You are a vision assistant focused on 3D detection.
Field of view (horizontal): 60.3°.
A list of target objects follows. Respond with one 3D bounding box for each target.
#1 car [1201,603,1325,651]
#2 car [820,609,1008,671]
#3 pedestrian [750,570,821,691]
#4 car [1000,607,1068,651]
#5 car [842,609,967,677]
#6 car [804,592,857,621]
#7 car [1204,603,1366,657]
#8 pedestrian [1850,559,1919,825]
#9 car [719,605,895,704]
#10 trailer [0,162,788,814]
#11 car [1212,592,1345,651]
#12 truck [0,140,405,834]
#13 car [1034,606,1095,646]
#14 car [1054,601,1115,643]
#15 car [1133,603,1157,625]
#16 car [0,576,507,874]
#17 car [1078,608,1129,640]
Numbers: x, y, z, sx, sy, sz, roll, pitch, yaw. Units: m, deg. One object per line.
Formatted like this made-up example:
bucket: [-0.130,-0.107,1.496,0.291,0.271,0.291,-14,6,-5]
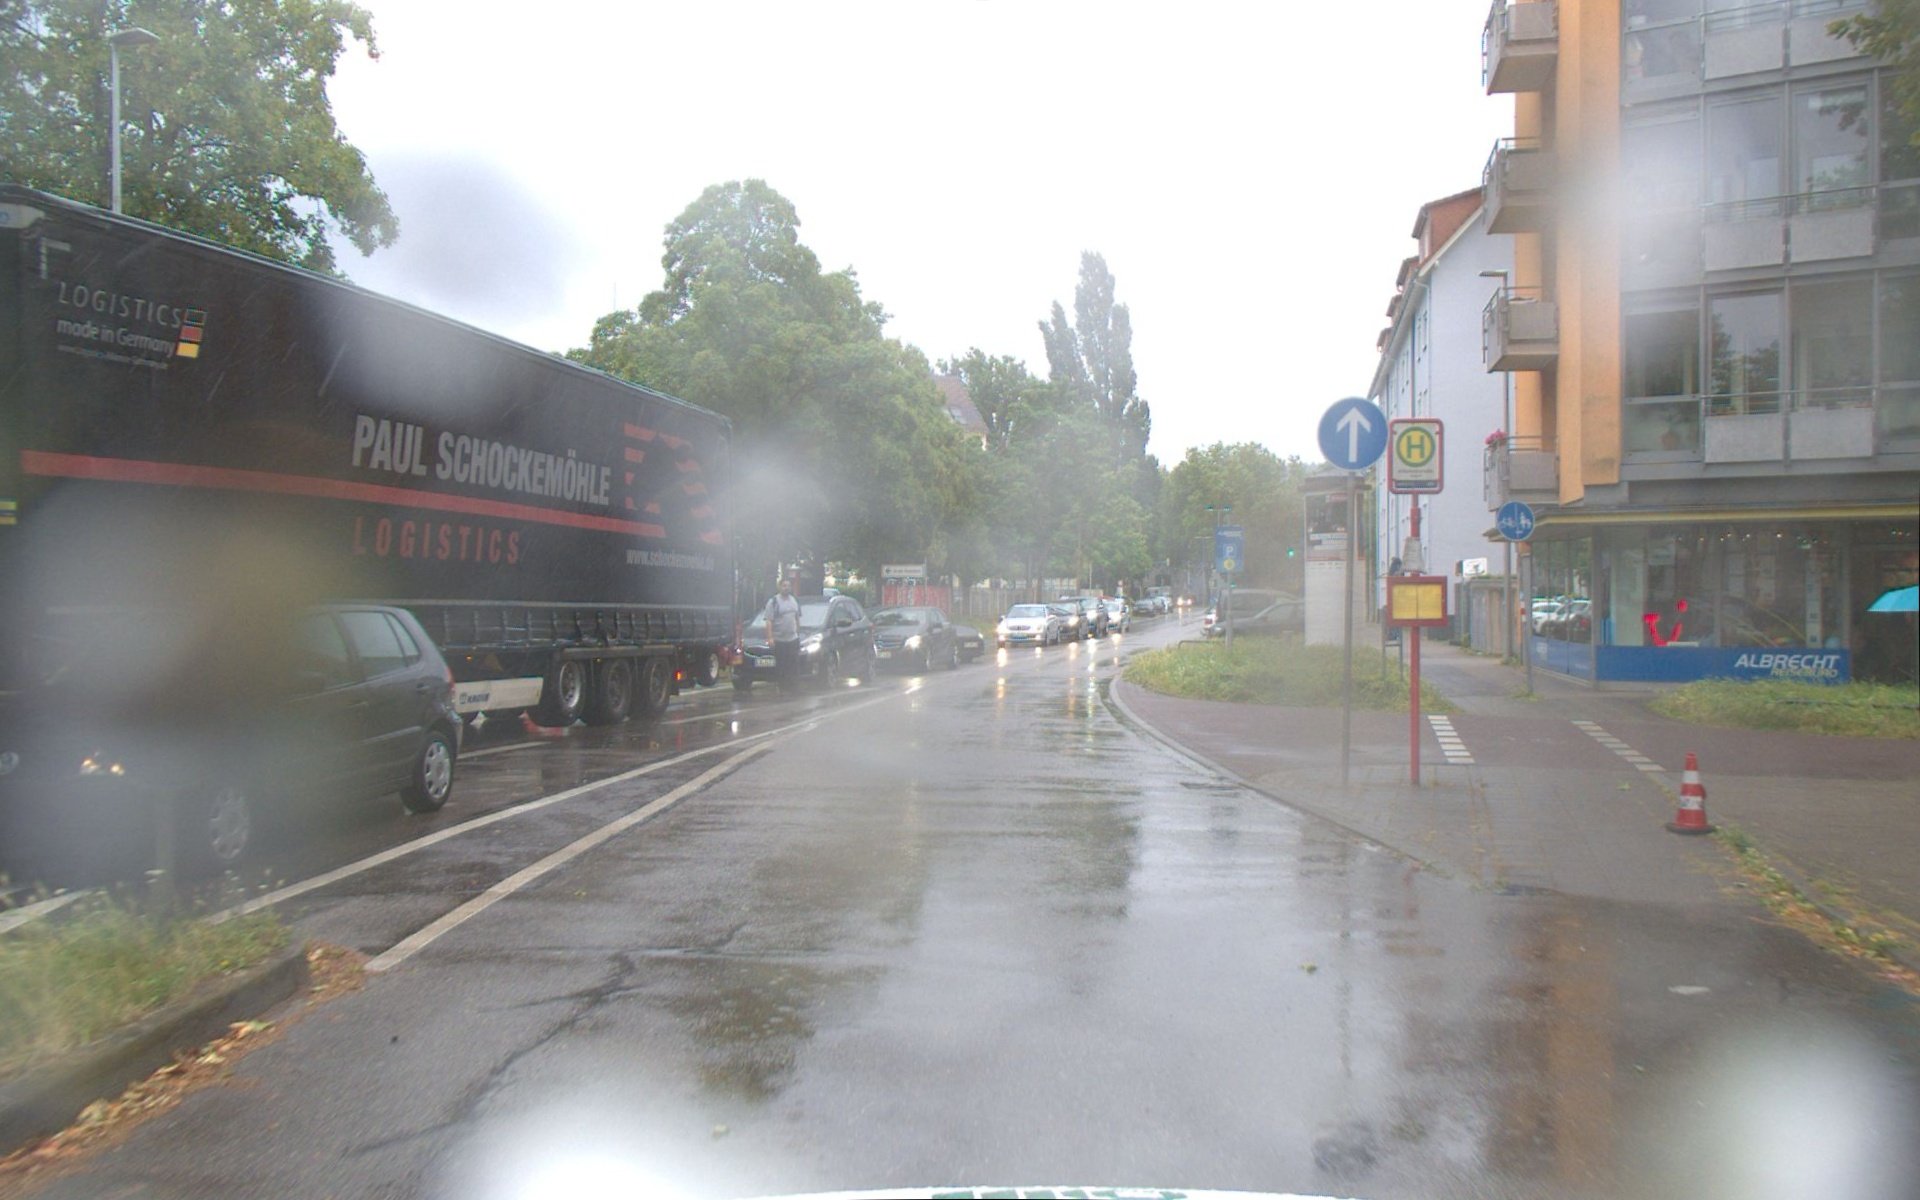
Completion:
car: [10.289,0.895,56.320,4.100,1.596,1.890,0,-1,10]
car: [-1.242,0.977,42.605,4.844,1.479,2.072,0,0,44]
pedestrian: [-2.790,0.476,26.326,0.857,1.876,0.984,0,0,-25]
car: [2.575,0.964,56.513,1.737,1.428,4.834,1,0,10]
car: [-1.150,0.904,36.405,1.690,1.385,4.341,-1,0,13]
car: [-7.492,0.413,95.232,1.820,1.600,3.970,1,-1,-24]
car: [9.278,0.869,47.335,4.436,1.496,1.985,0,-1,12]
pedestrian: [7.487,0.657,12.362,1.145,1.898,1.386,0,0,13]
car: [-2.682,0.993,30.194,1.827,1.648,4.806,0,-2,12]
trailer: [-5.784,-0.708,18.164,3.368,4.120,15.063,0,0,12]
car: [10.302,0.706,53.713,4.141,1.837,1.946,-1,-1,8]
truck: [-7.189,-0.690,11.301,3.376,4.150,6.980,0,0,11]
car: [4.054,0.980,63.624,1.741,1.445,4.269,0,0,11]
car: [5.346,0.925,70.352,1.873,1.668,4.825,1,0,13]
car: [14.213,1.079,127.244,1.738,1.556,4.003,1,1,4]
car: [-4.353,0.573,9.927,1.662,1.397,4.103,0,0,8]
car: [6.653,1.079,76.255,1.637,1.407,4.255,0,0,15]
